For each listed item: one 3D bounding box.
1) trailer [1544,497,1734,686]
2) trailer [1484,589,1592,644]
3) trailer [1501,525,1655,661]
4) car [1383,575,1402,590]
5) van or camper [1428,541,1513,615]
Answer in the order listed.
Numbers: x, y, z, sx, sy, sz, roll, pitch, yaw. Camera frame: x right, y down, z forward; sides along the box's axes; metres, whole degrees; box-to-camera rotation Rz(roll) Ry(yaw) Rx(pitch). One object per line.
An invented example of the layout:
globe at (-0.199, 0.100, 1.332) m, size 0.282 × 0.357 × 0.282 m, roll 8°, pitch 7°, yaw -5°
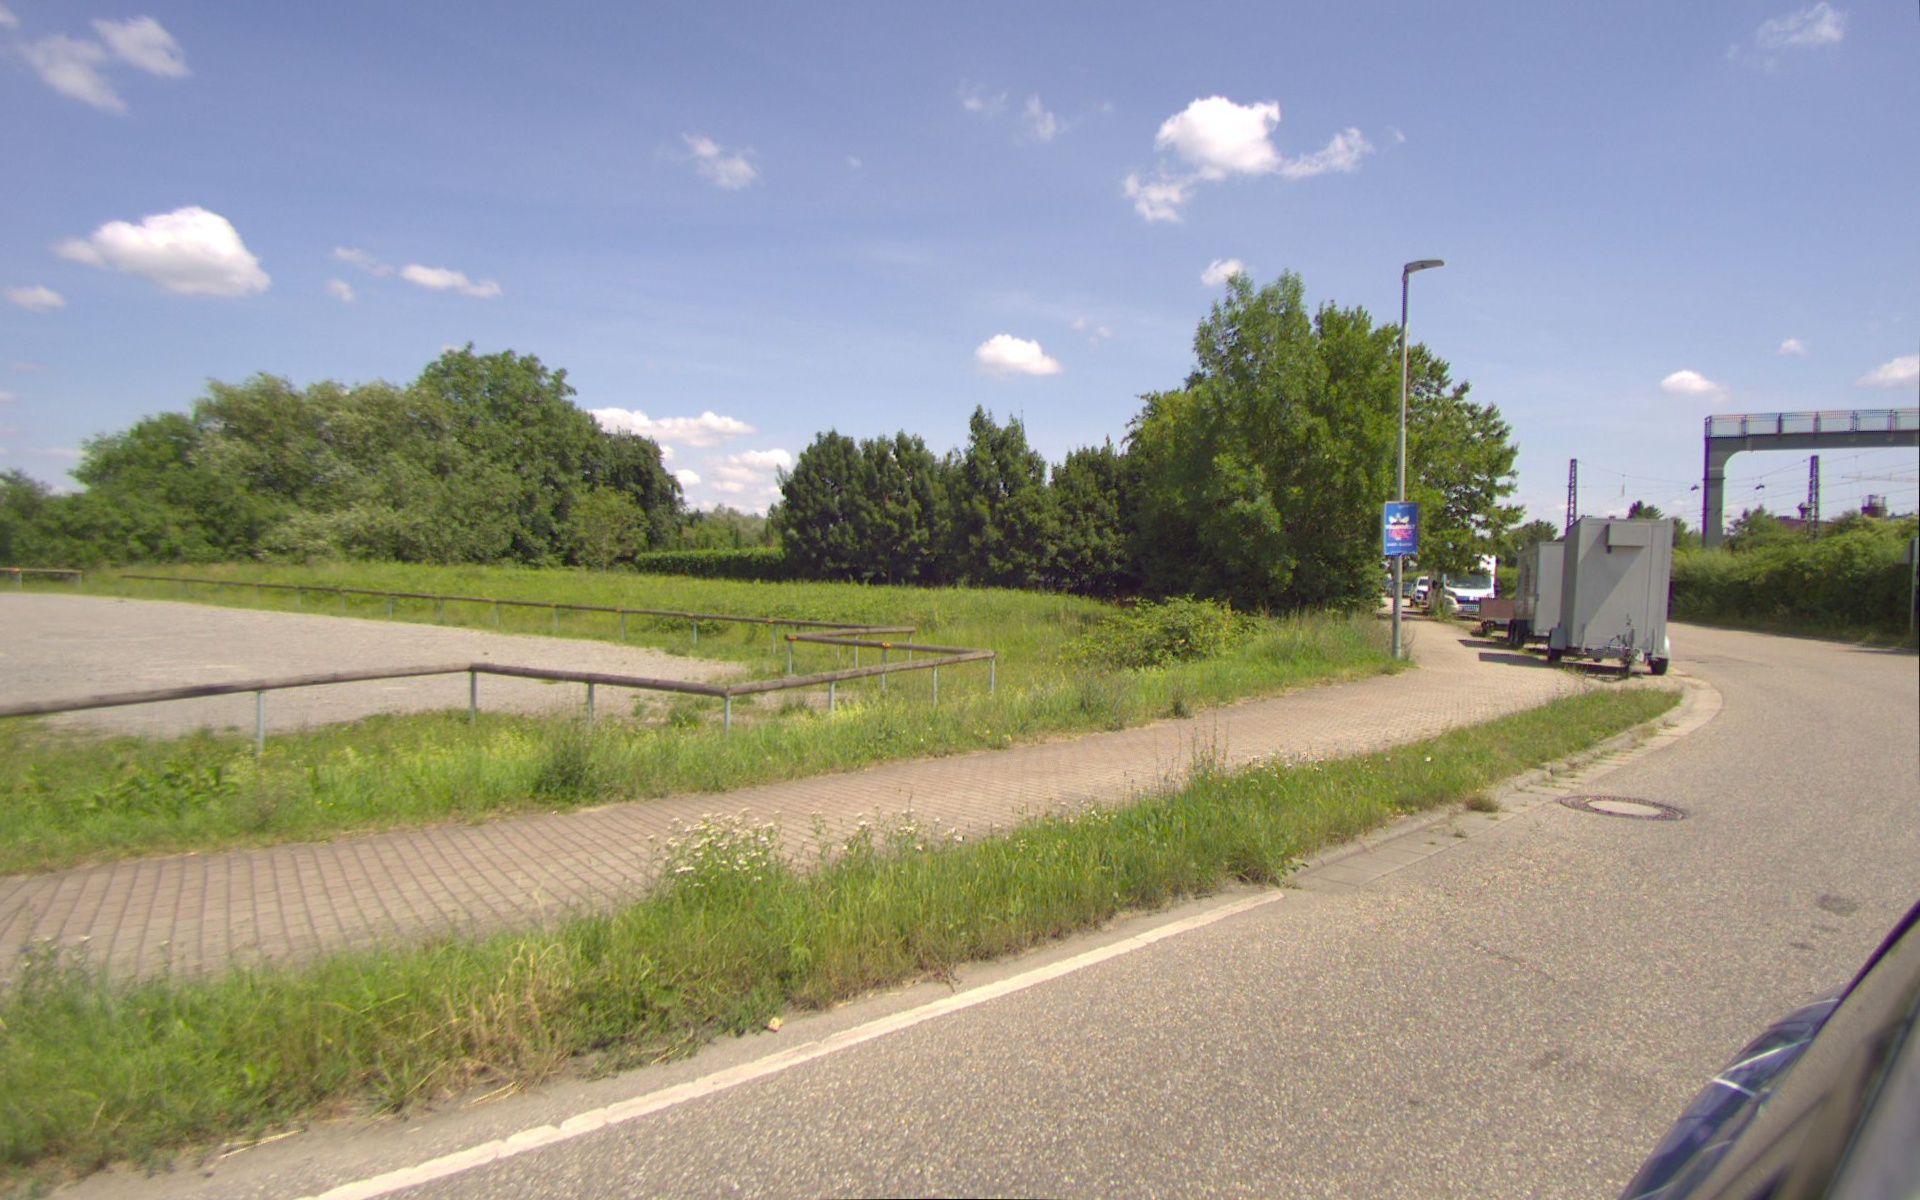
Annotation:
trailer at (11.352, -0.204, 17.307) m, size 1.921 × 2.676 × 5.135 m, roll 4°, pitch 3°, yaw 27°
trailer at (15.321, 0.374, 27.053) m, size 1.990 × 1.136 × 4.453 m, roll 4°, pitch 4°, yaw 24°
trailer at (13.262, -0.212, 22.044) m, size 1.903 × 2.538 × 4.707 m, roll 4°, pitch 3°, yaw 22°
car at (51.353, -2.116, 120.132) m, size 1.785 × 1.723 × 3.973 m, roll 4°, pitch 2°, yaw 21°
van or camper at (22.015, -0.972, 43.946) m, size 2.418 × 2.861 × 7.570 m, roll 3°, pitch 2°, yaw 21°
